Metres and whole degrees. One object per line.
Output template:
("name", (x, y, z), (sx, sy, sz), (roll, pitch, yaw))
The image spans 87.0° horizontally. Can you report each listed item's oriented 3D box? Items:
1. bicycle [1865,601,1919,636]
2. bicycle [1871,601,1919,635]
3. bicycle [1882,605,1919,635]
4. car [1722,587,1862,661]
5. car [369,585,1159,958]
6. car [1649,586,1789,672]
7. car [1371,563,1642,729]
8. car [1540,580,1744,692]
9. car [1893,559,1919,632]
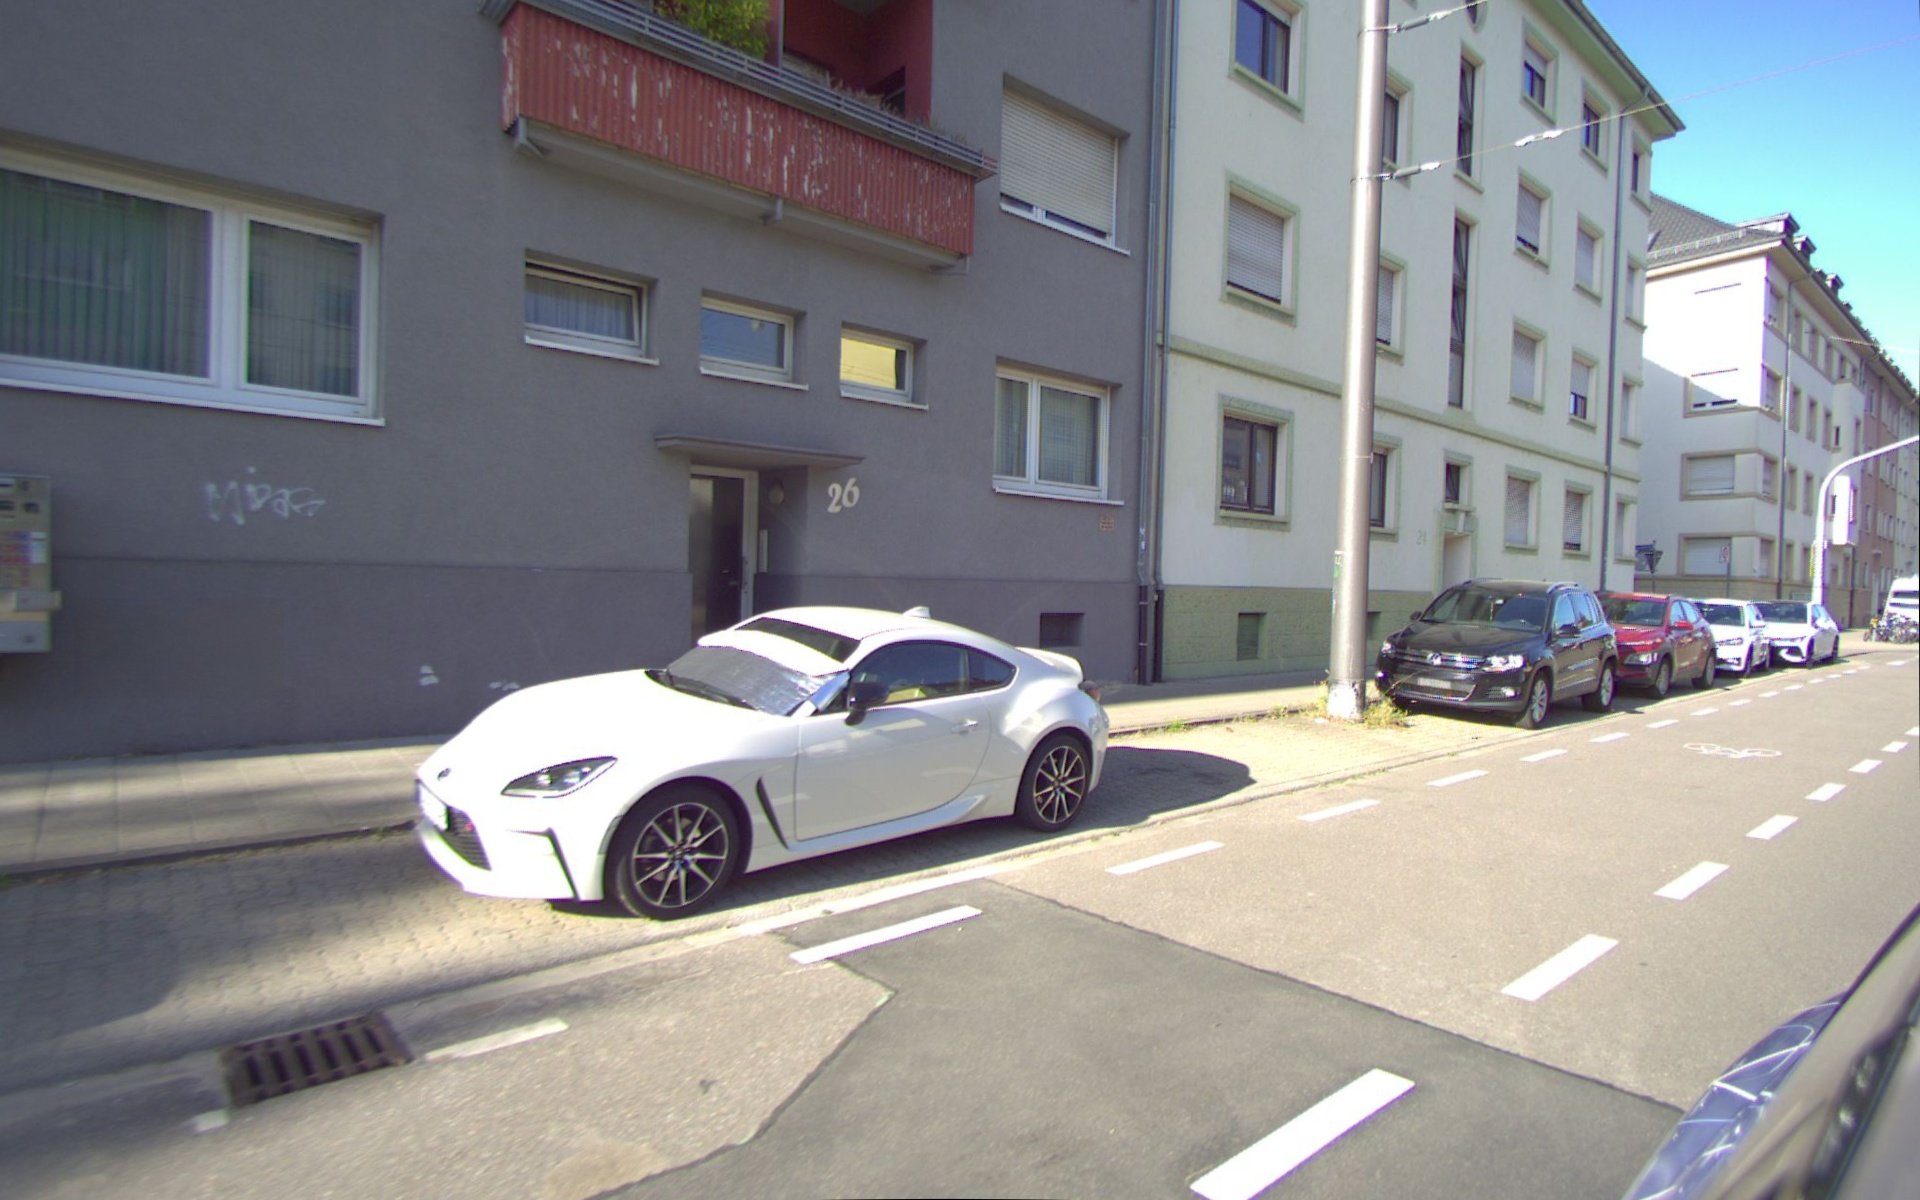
("bicycle", (33.508, 0.640, 36.212), (0.465, 1.100, 1.918), (4, 3, 2))
("bicycle", (34.427, 0.642, 37.041), (0.465, 1.100, 1.918), (-1, 3, 2))
("bicycle", (35.090, 0.721, 37.330), (0.478, 1.101, 2.024), (0, -1, 7))
("car", (19.091, 0.512, 23.154), (4.302, 1.476, 1.698), (1, 2, -41))
("car", (-0.861, 0.656, 5.923), (4.229, 1.290, 1.706), (0, 5, -42))
("car", (15.231, 0.525, 20.231), (4.015, 1.476, 1.637), (0, 3, -45))
("car", (6.988, 0.465, 12.728), (4.300, 1.667, 1.638), (0, 4, -43))
("car", (11.045, 0.511, 16.282), (4.114, 1.536, 1.639), (1, 2, -41))
("car", (38.964, -0.107, 40.102), (6.182, 2.728, 2.156), (0, 4, -41))
